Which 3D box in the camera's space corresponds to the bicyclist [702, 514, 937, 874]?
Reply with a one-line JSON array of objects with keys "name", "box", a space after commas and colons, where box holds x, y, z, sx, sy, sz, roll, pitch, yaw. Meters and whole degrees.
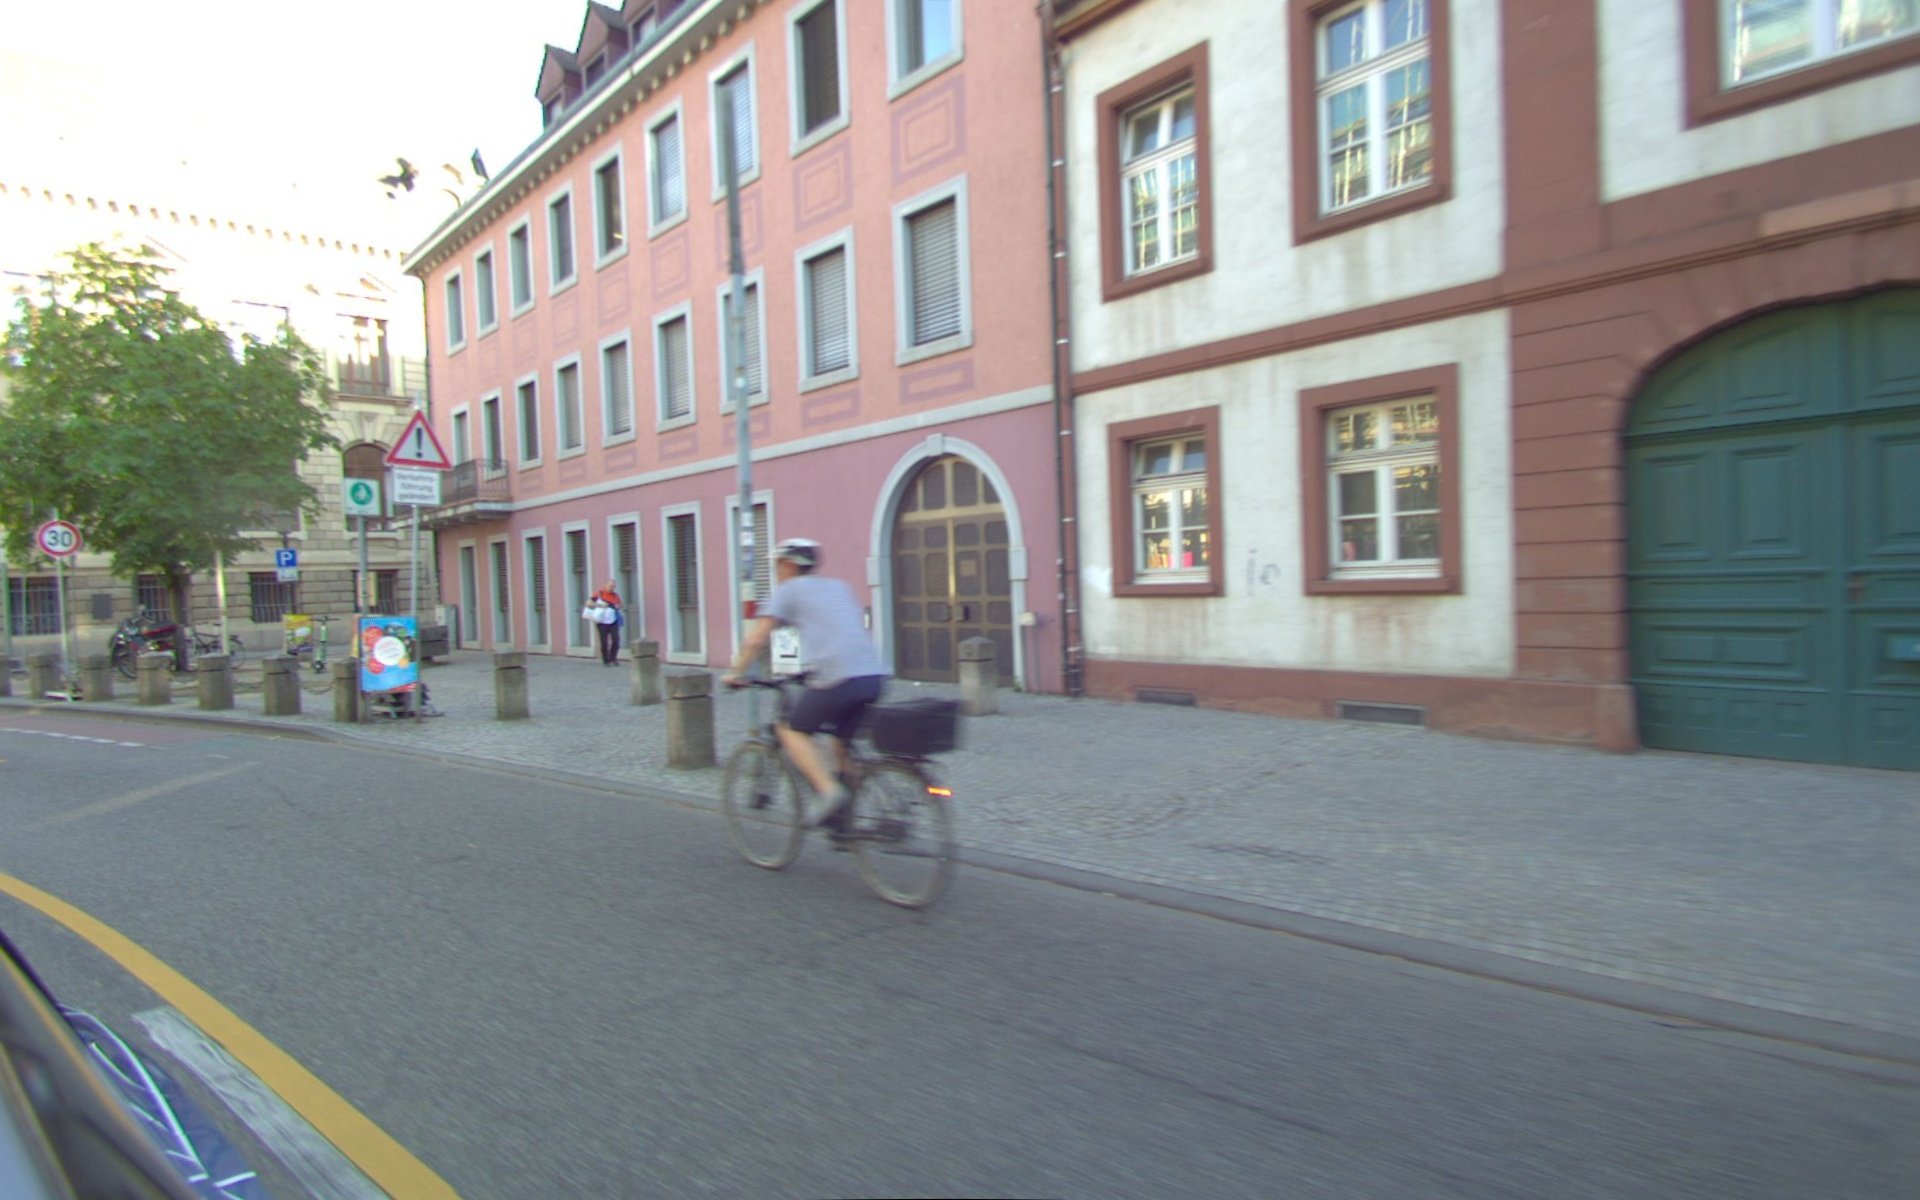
[{"name": "bicyclist", "box": [-0.691, 0.406, 5.004, 0.794, 1.595, 0.736, -2, 2, 41]}]

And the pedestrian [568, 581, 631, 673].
[{"name": "pedestrian", "box": [-7.004, 0.513, 19.676, 0.782, 1.701, 0.869, -5, 2, -43]}]

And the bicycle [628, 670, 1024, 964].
[{"name": "bicycle", "box": [-0.750, 0.946, 5.073, 2.077, 1.070, 0.763, -2, 1, 42]}]

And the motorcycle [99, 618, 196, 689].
[{"name": "motorcycle", "box": [-16.209, 1.056, 20.179, 2.330, 1.327, 0.805, -2, 0, 34]}]

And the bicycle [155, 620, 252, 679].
[{"name": "bicycle", "box": [-16.774, 1.078, 22.504, 0.674, 1.215, 2.005, -1, 0, 0]}]
